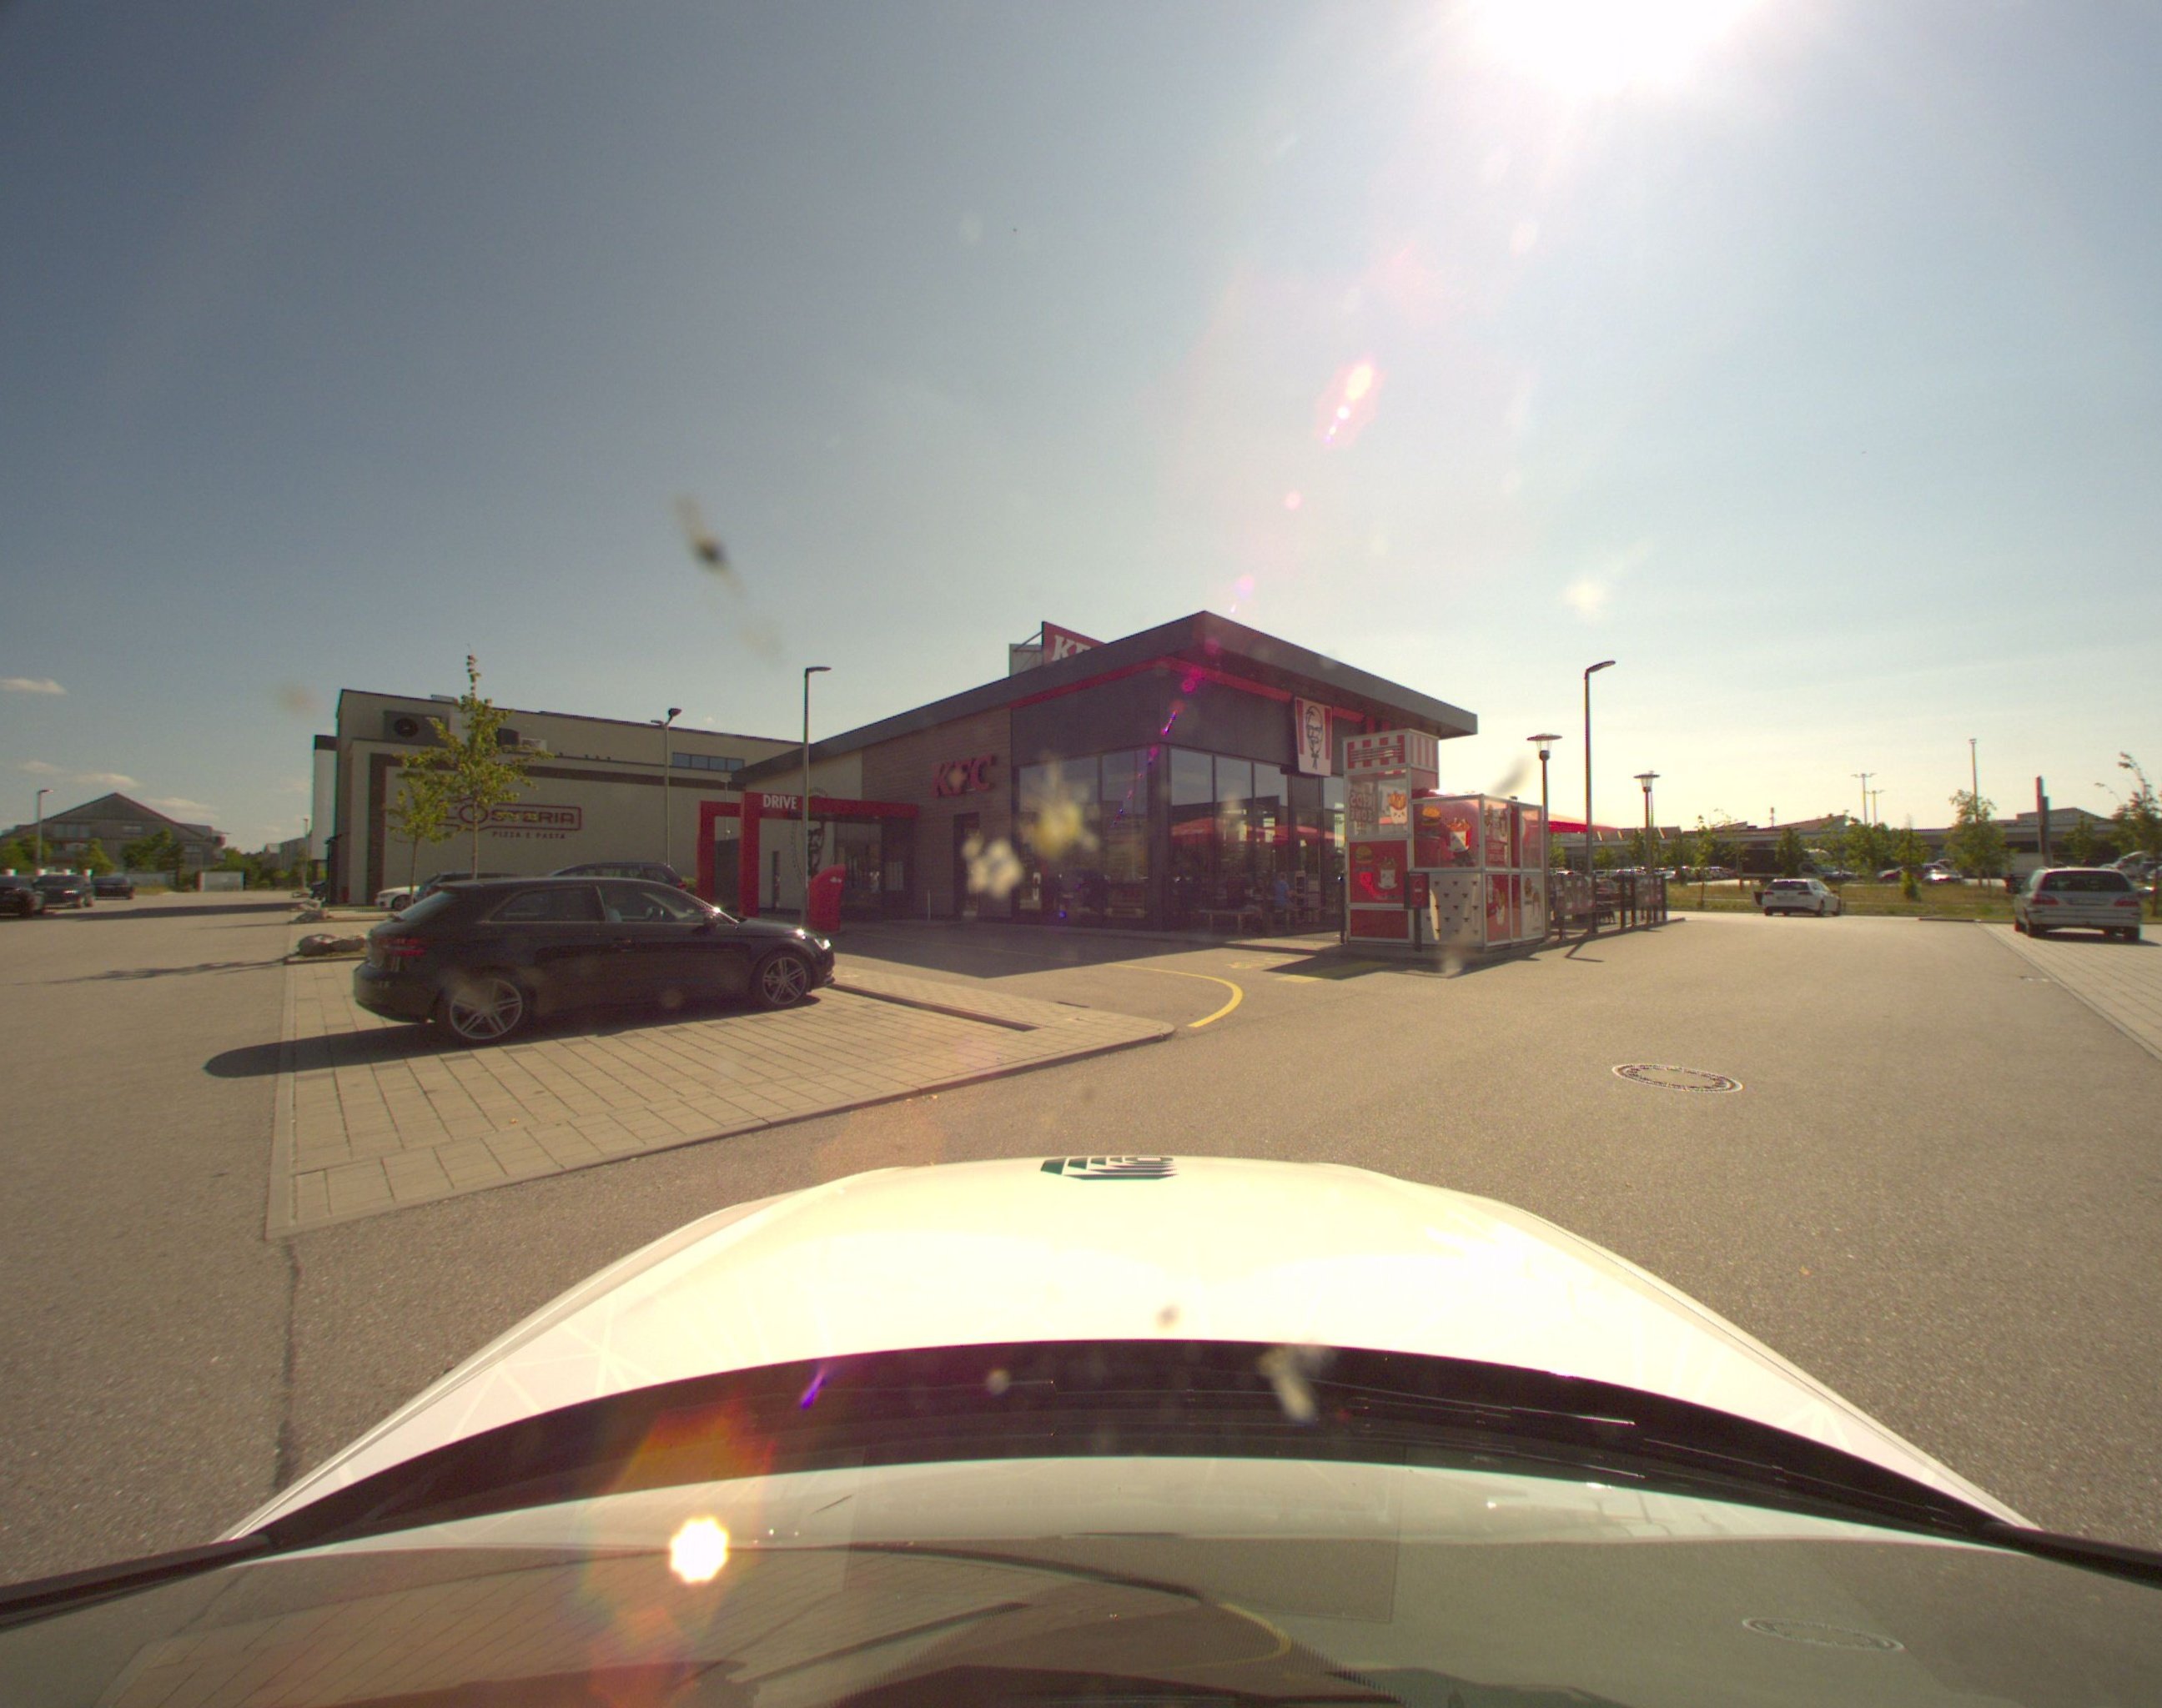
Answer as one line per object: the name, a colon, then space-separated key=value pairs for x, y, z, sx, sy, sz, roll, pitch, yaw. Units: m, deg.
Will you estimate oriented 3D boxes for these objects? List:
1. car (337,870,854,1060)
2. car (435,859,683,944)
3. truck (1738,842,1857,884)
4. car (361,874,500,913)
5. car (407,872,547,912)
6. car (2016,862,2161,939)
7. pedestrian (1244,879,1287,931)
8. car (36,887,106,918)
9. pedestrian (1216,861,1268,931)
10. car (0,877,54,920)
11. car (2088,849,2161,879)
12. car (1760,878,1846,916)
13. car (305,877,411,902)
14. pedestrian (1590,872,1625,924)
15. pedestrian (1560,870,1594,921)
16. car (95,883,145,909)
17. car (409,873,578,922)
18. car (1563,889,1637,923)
car: x=-4.661 y=0.900 z=8.319 sx=1.677 sy=1.441 sz=4.238 roll=-2 pitch=-2 yaw=45
car: x=-11.628 y=0.994 z=18.418 sx=1.620 sy=1.685 sz=4.411 roll=-1 pitch=-2 yaw=41
truck: x=59.650 y=0.774 z=68.077 sx=2.415 sy=3.352 sz=7.538 roll=0 pitch=-1 yaw=-10
car: x=-25.401 y=1.495 z=31.893 sx=1.630 sy=1.420 sz=4.024 roll=-1 pitch=-2 yaw=42
car: x=-22.852 y=1.414 z=30.933 sx=1.630 sy=1.420 sz=4.024 roll=-1 pitch=-2 yaw=42
car: x=25.448 y=1.110 z=20.653 sx=4.391 sy=1.750 sz=2.047 roll=1 pitch=-2 yaw=-43
pedestrian: x=4.014 y=1.098 z=17.743 sx=0.621 sy=1.072 sz=0.722 roll=-1 pitch=-1 yaw=43
car: x=-49.173 y=2.338 z=39.703 sx=3.950 sy=1.387 sz=1.758 roll=-1 pitch=-2 yaw=44
pedestrian: x=3.391 y=0.872 z=17.180 sx=0.763 sy=1.435 sz=0.805 roll=-1 pitch=-1 yaw=43
car: x=-41.374 y=1.687 z=31.235 sx=3.950 sy=1.568 sz=1.962 roll=-2 pitch=-2 yaw=45
car: x=82.805 y=0.787 z=62.640 sx=2.314 sy=2.244 sz=6.490 roll=1 pitch=-2 yaw=-45
car: x=28.639 y=1.647 z=32.265 sx=4.175 sy=1.398 sz=1.867 roll=1 pitch=-2 yaw=-39
car: x=-37.972 y=1.835 z=42.843 sx=1.975 sy=1.156 sz=4.023 roll=-1 pitch=-1 yaw=44
pedestrian: x=13.351 y=1.103 z=20.665 sx=0.589 sy=1.270 sz=0.689 roll=-1 pitch=-2 yaw=20
pedestrian: x=12.708 y=1.052 z=20.879 sx=0.589 sy=1.270 sz=0.689 roll=-1 pitch=-2 yaw=20
car: x=-61.253 y=2.635 z=51.967 sx=3.950 sy=1.568 sz=1.758 roll=-1 pitch=-2 yaw=44
car: x=-18.324 y=1.313 z=25.540 sx=1.630 sy=1.420 sz=4.024 roll=-1 pitch=-2 yaw=42
car: x=24.362 y=2.385 z=38.201 sx=3.772 sy=1.454 sz=1.668 roll=1 pitch=-2 yaw=-37
